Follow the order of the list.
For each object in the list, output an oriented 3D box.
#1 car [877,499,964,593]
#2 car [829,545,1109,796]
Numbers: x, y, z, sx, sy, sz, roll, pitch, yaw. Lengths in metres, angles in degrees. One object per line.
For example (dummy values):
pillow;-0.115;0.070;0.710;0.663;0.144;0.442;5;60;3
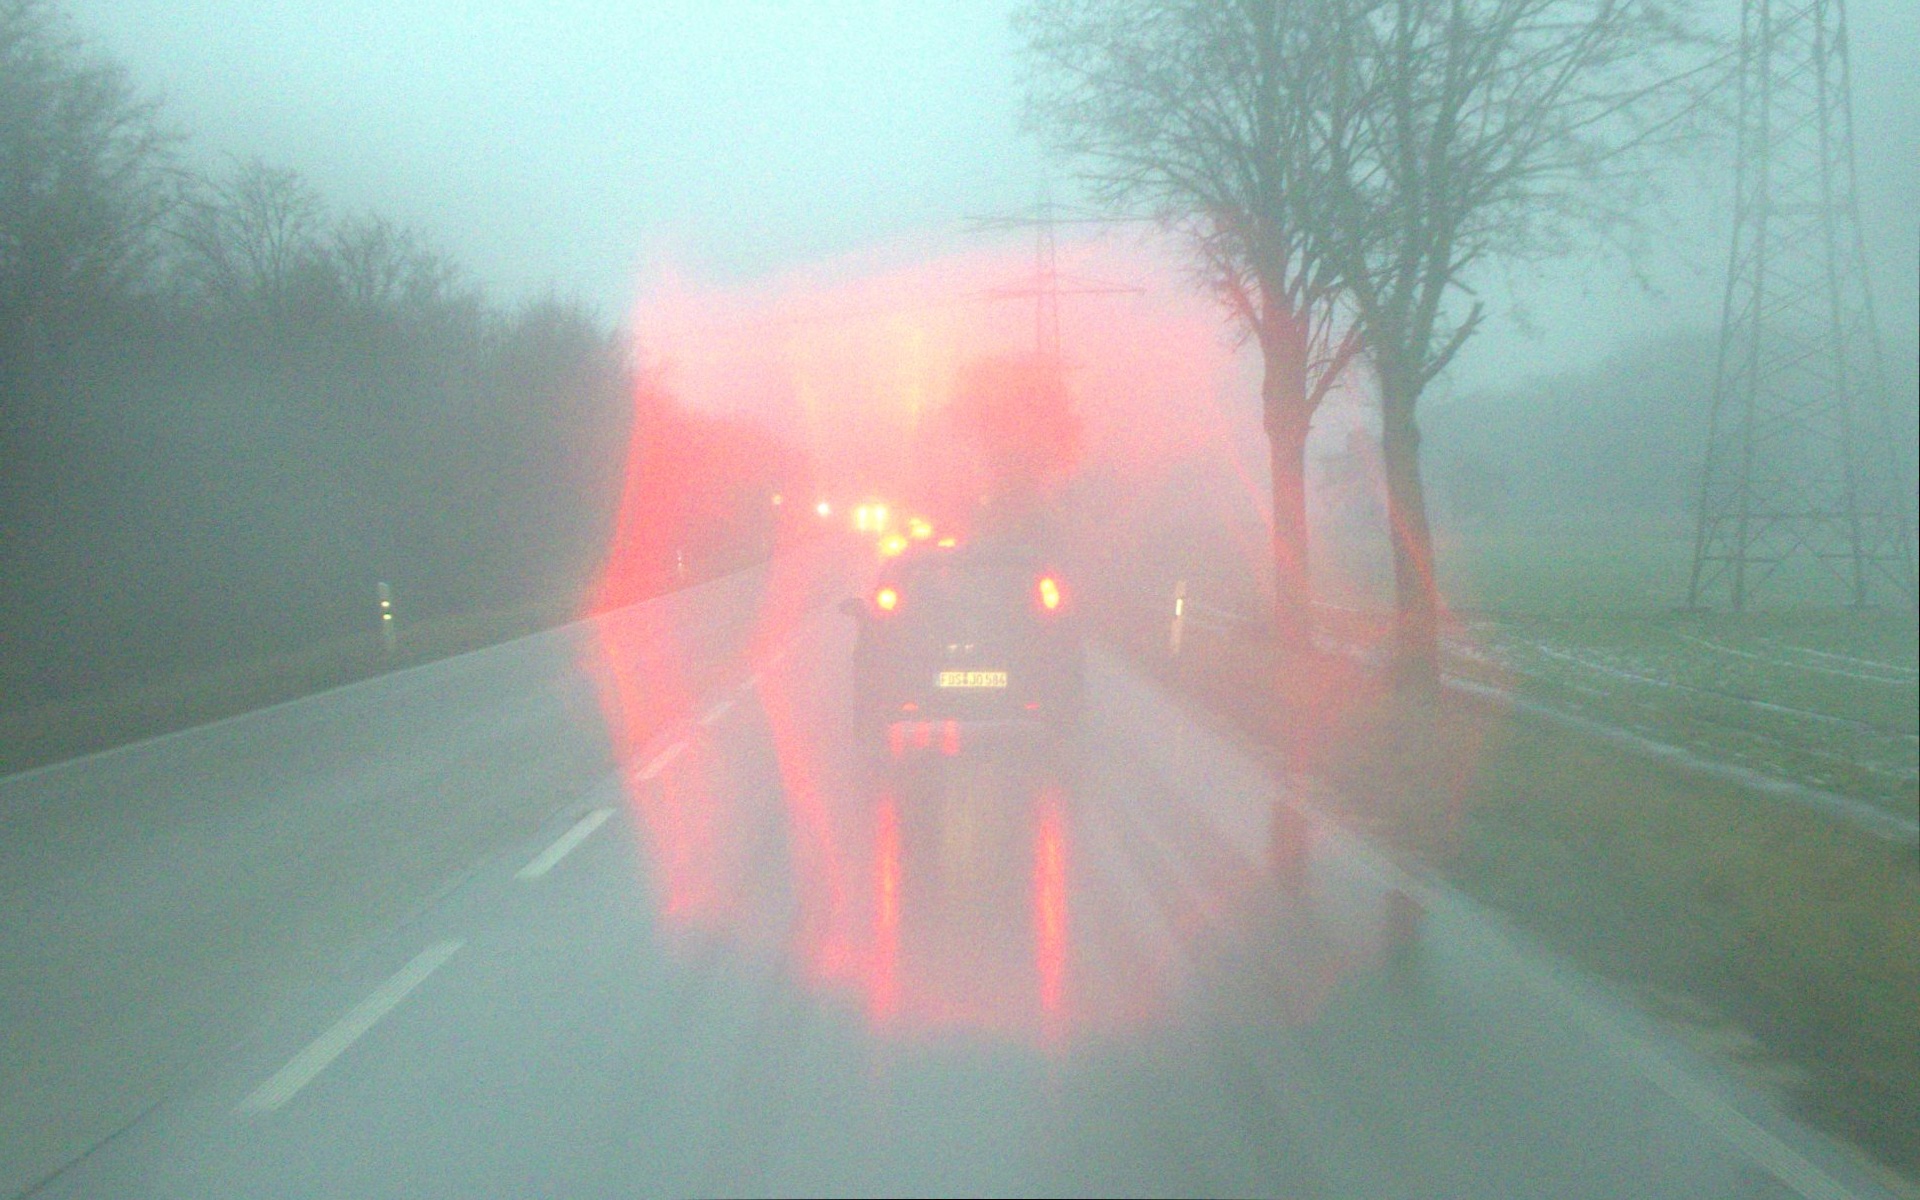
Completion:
car;-0.960;-1.338;83.178;1.993;2.006;4.001;2;4;-1
car;0.045;0.474;26.623;1.993;1.746;4.000;-1;1;-1
